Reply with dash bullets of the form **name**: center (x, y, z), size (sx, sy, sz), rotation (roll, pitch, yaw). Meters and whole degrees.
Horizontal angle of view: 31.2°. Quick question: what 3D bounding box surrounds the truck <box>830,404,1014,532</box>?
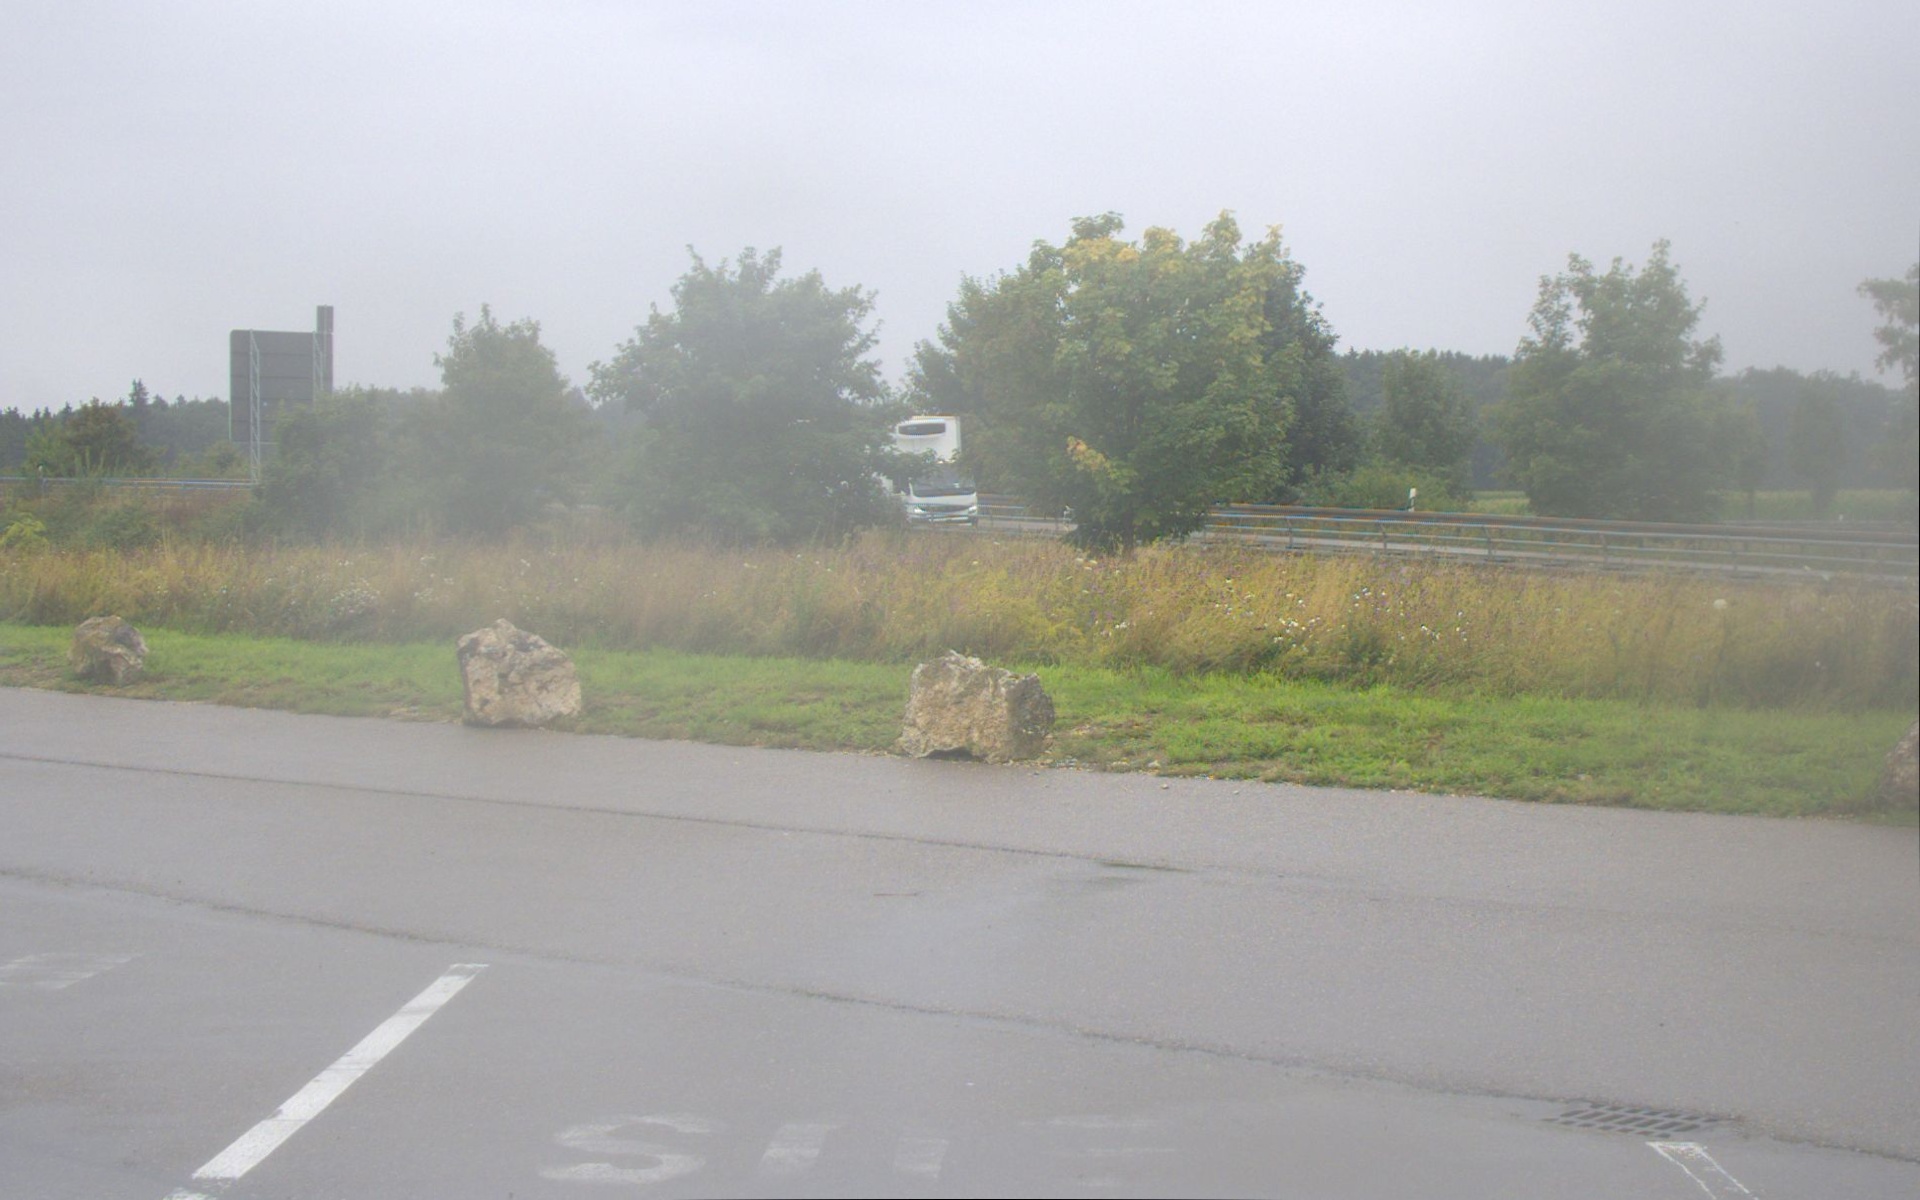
- **truck**: center (-1.151, -3.643, 95.879), size (2.738, 3.379, 8.070), rotation (0, 2, -19)
